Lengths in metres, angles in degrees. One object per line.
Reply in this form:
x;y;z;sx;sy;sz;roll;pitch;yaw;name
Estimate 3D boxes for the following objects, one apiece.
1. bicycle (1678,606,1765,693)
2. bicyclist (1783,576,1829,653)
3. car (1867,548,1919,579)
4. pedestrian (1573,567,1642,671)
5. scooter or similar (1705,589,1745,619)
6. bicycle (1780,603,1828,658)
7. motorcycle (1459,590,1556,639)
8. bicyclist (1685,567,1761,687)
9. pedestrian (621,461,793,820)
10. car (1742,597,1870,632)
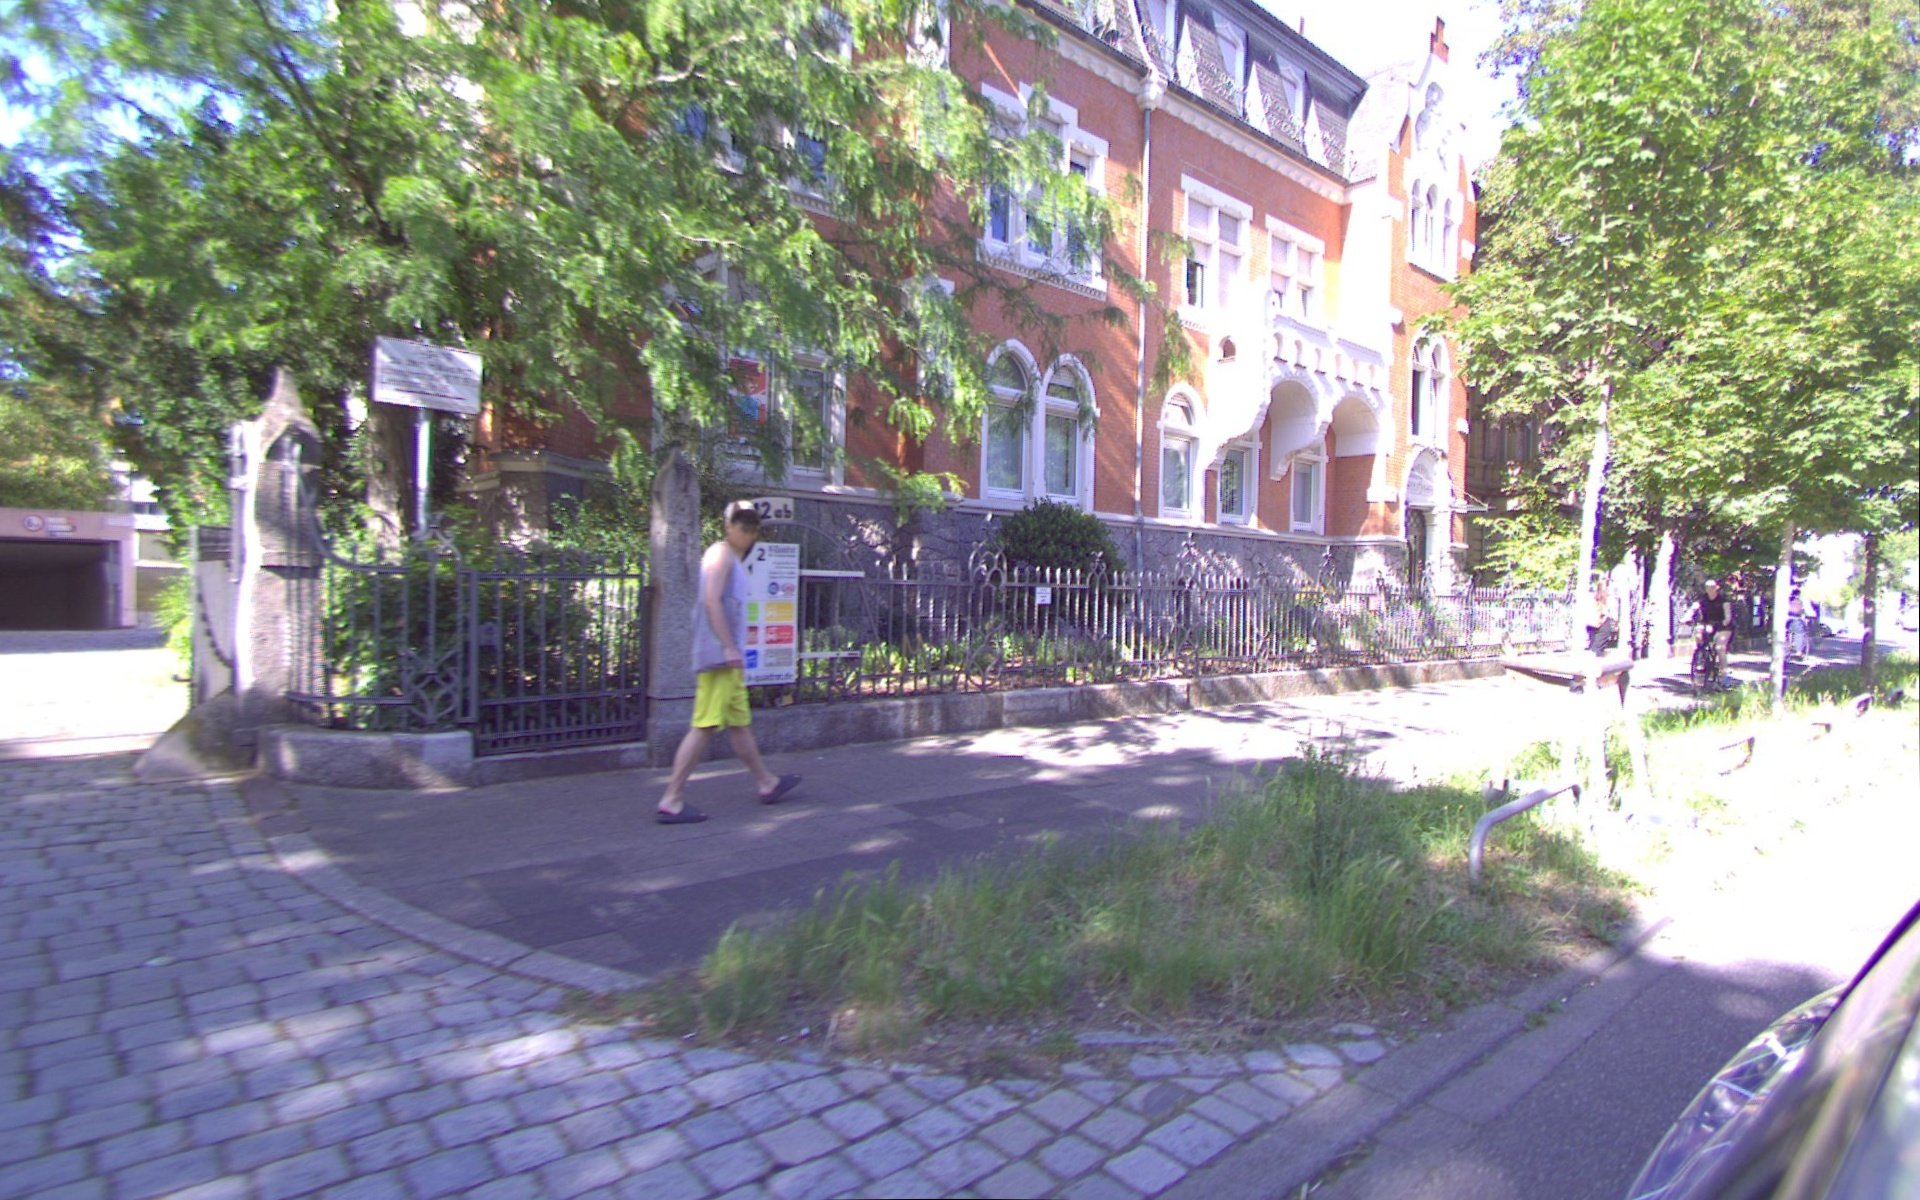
11.577;0.720;15.370;1.811;1.190;0.654;1;4;-42;bicycle
19.685;0.335;23.547;0.807;1.711;0.621;1;4;-45;bicyclist
50.125;-1.967;54.343;1.843;1.458;4.039;5;3;45;car
11.021;0.301;17.222;0.806;1.678;0.696;0;4;-42;pedestrian
32.973;0.172;43.610;1.380;1.278;0.762;1;2;-25;scooter or similar
19.667;0.681;23.565;0.616;1.190;1.888;6;4;45;bicycle
13.082;0.329;24.244;0.766;1.044;1.884;-1;3;-32;motorcycle
11.523;0.393;15.285;0.874;1.715;0.647;1;3;-42;bicyclist
-1.394;0.199;5.549;0.794;1.809;0.752;2;3;-16;pedestrian
40.641;0.661;48.686;2.010;1.434;4.417;0;2;-39;car
